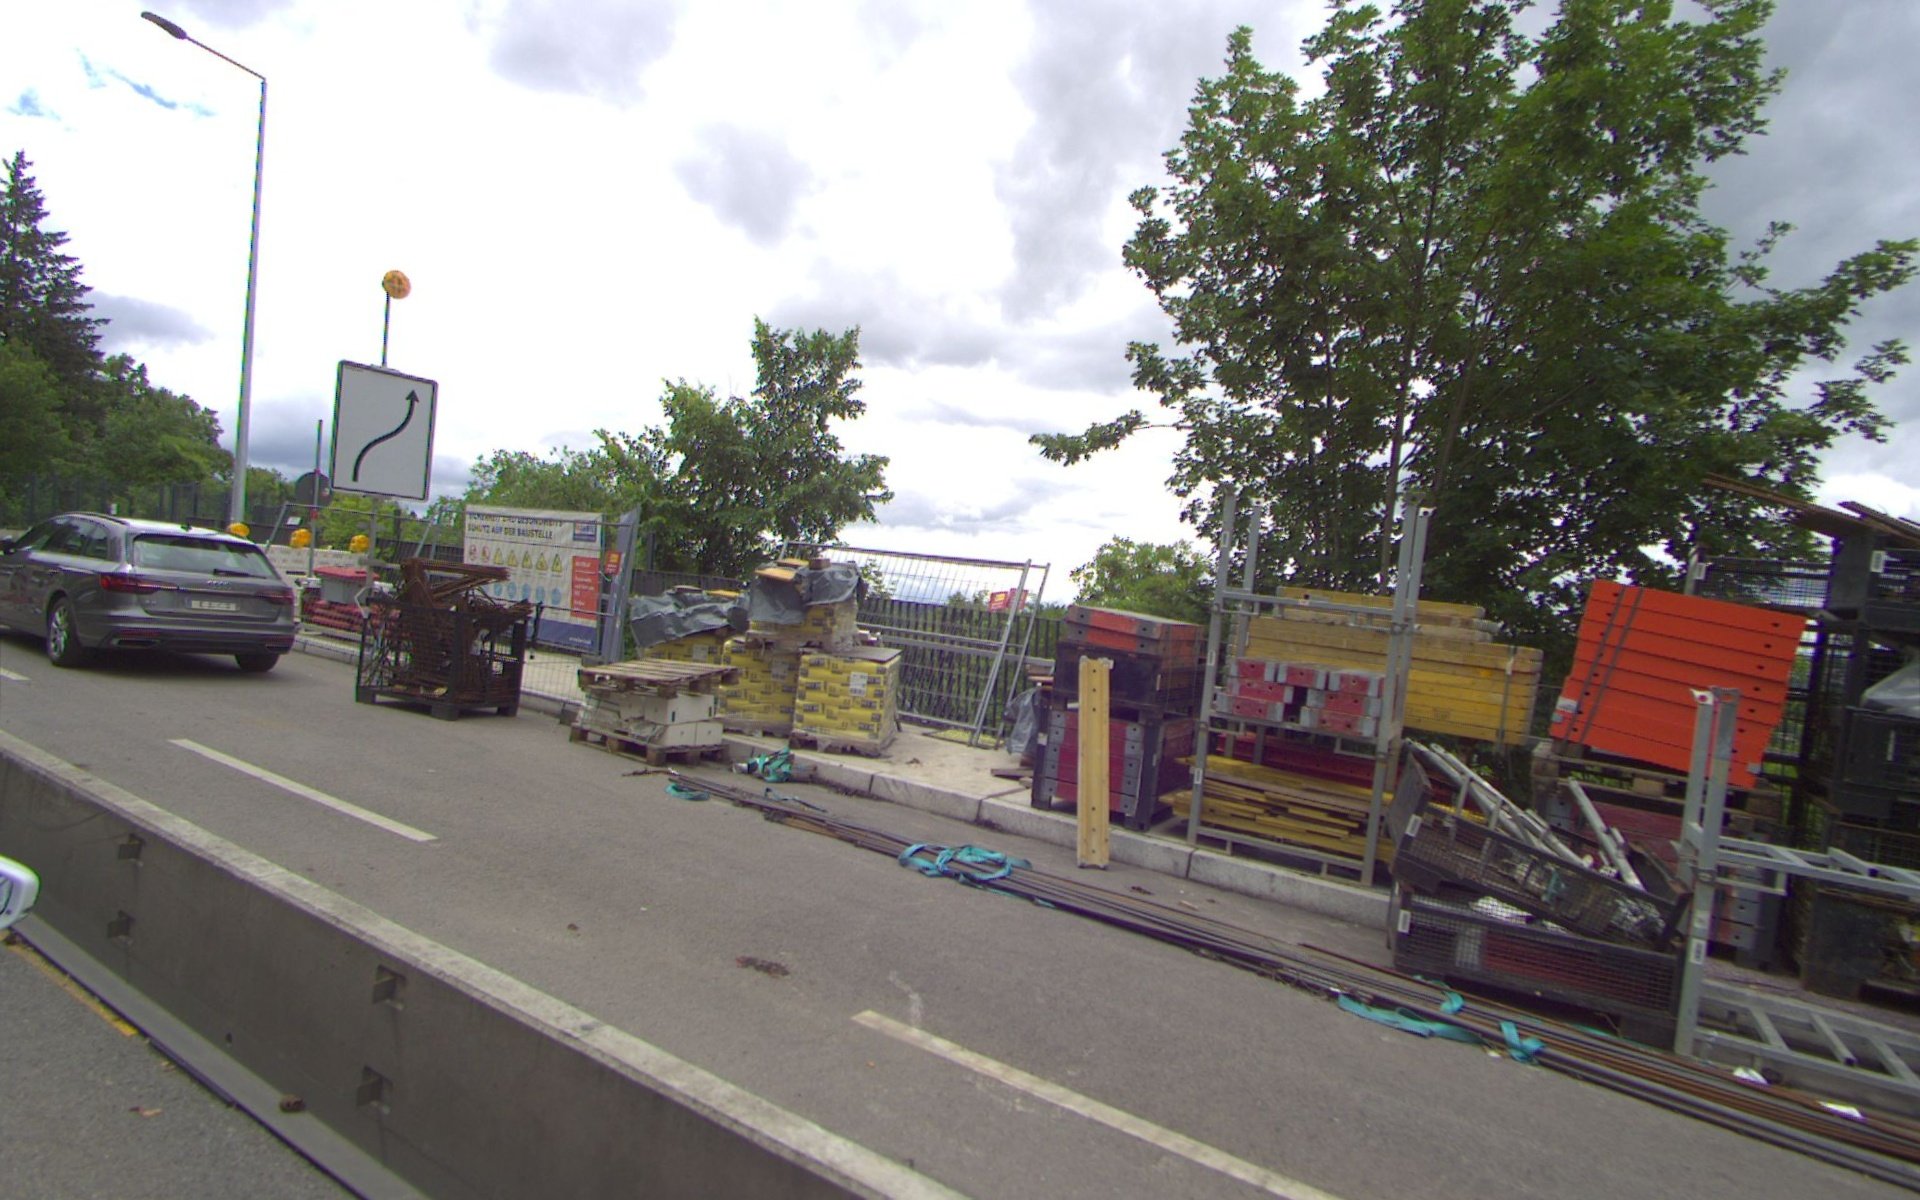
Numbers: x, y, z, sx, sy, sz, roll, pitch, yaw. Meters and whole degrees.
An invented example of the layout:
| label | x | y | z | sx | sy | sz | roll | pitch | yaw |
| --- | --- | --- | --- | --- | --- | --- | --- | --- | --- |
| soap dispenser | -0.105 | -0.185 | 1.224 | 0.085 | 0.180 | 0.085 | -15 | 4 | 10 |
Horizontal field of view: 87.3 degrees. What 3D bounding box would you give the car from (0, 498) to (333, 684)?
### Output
| label | x | y | z | sx | sy | sz | roll | pitch | yaw |
| --- | --- | --- | --- | --- | --- | --- | --- | --- | --- |
| car | -8.840 | -0.172 | 10.667 | 4.552 | 1.472 | 1.842 | 6 | -1 | 32 |
